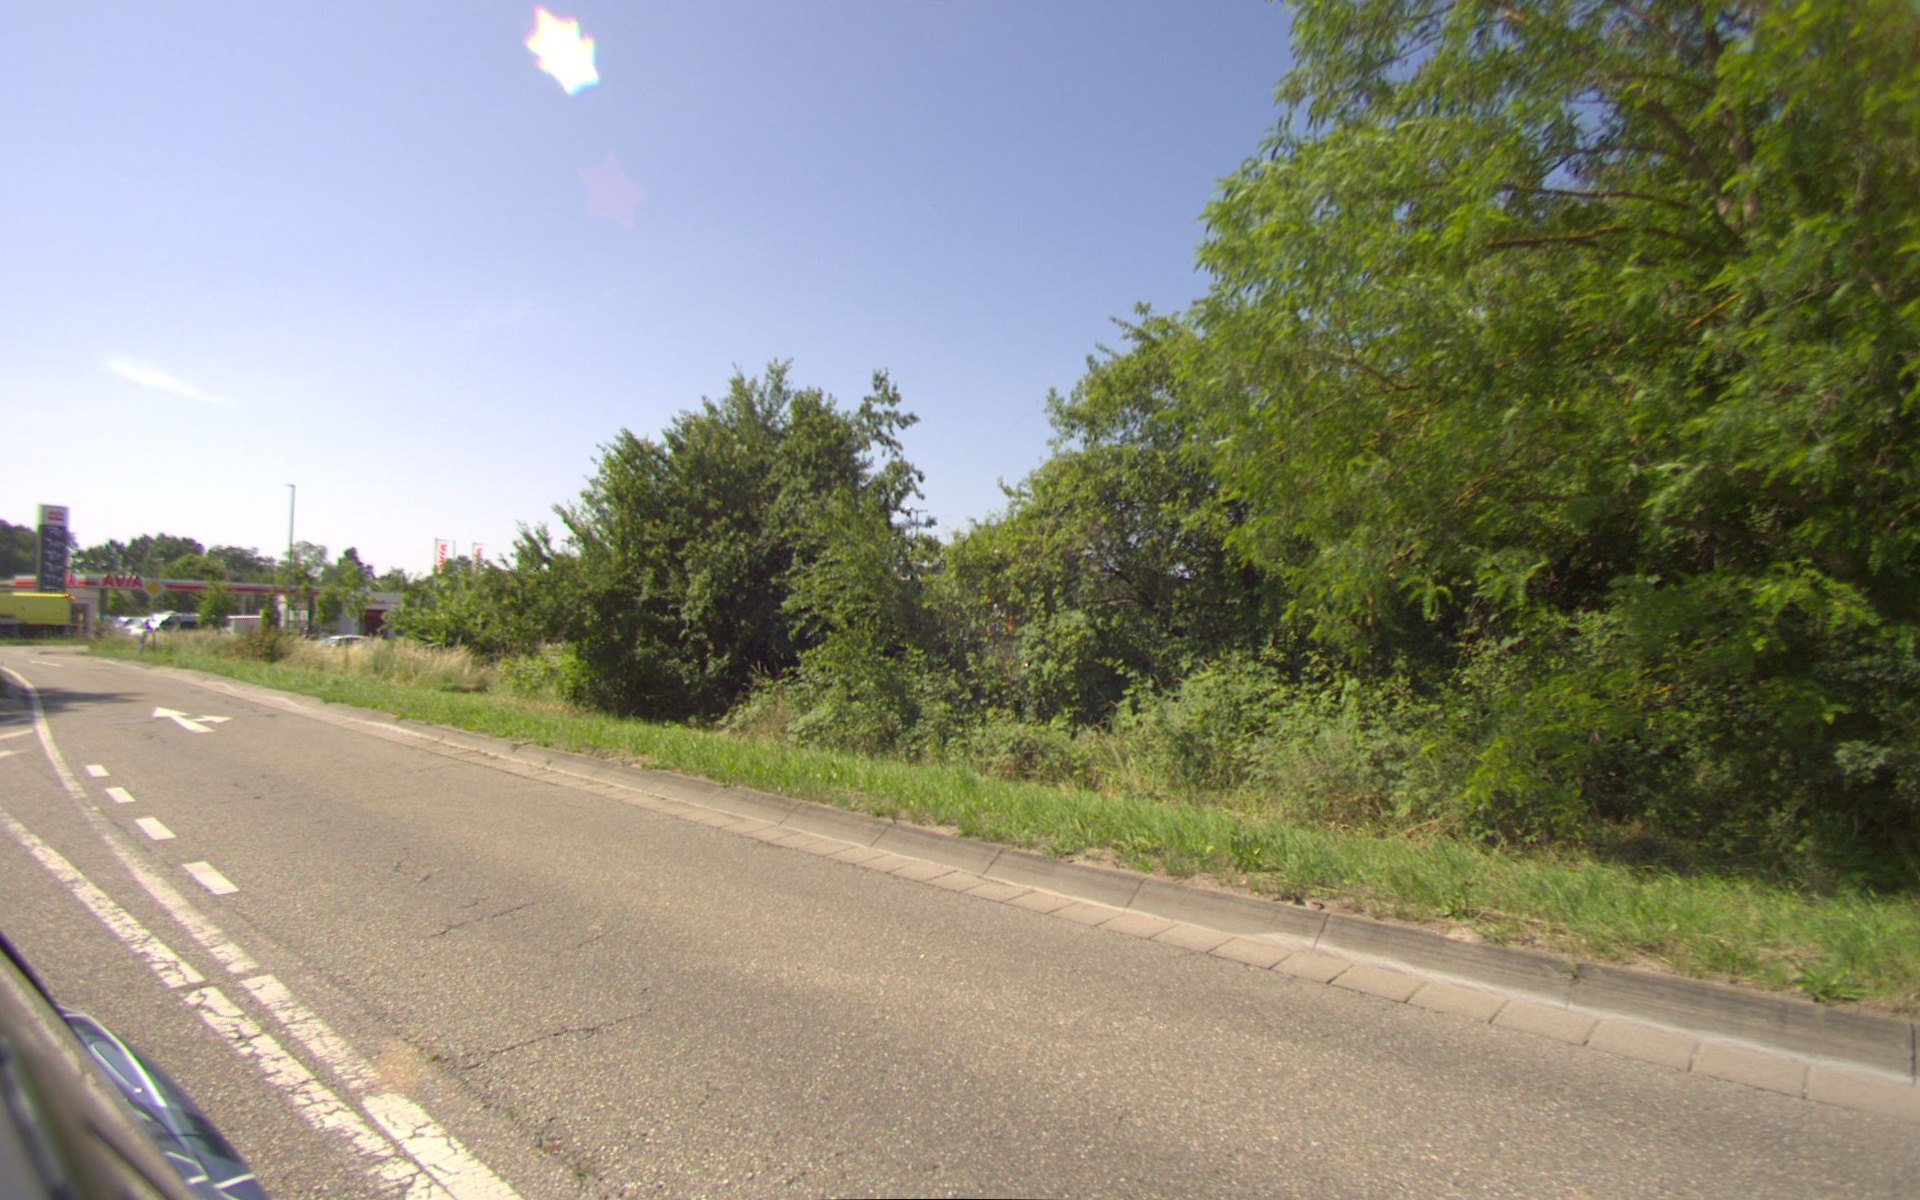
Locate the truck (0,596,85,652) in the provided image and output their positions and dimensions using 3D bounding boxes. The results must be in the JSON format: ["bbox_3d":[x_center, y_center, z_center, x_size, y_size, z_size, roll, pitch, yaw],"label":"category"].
[{"bbox_3d":[-60.705,1.434,61.969,3.881,3.420,10.203,-1,-3,39],"label":"truck"}]

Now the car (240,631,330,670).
[{"bbox_3d":[-39.743,2.942,59.619,1.998,2.184,3.948,-1,-3,39],"label":"car"}]

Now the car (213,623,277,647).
[{"bbox_3d":[-60.189,2.987,85.259,1.985,1.962,3.973,0,-2,20],"label":"car"}]

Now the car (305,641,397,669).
[{"bbox_3d":[-34.077,3.070,56.700,1.998,1.497,3.948,-1,-3,39],"label":"car"}]

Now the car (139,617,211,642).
[{"bbox_3d":[-61.792,2.337,79.731,1.985,1.962,3.973,0,-2,20],"label":"car"}]
